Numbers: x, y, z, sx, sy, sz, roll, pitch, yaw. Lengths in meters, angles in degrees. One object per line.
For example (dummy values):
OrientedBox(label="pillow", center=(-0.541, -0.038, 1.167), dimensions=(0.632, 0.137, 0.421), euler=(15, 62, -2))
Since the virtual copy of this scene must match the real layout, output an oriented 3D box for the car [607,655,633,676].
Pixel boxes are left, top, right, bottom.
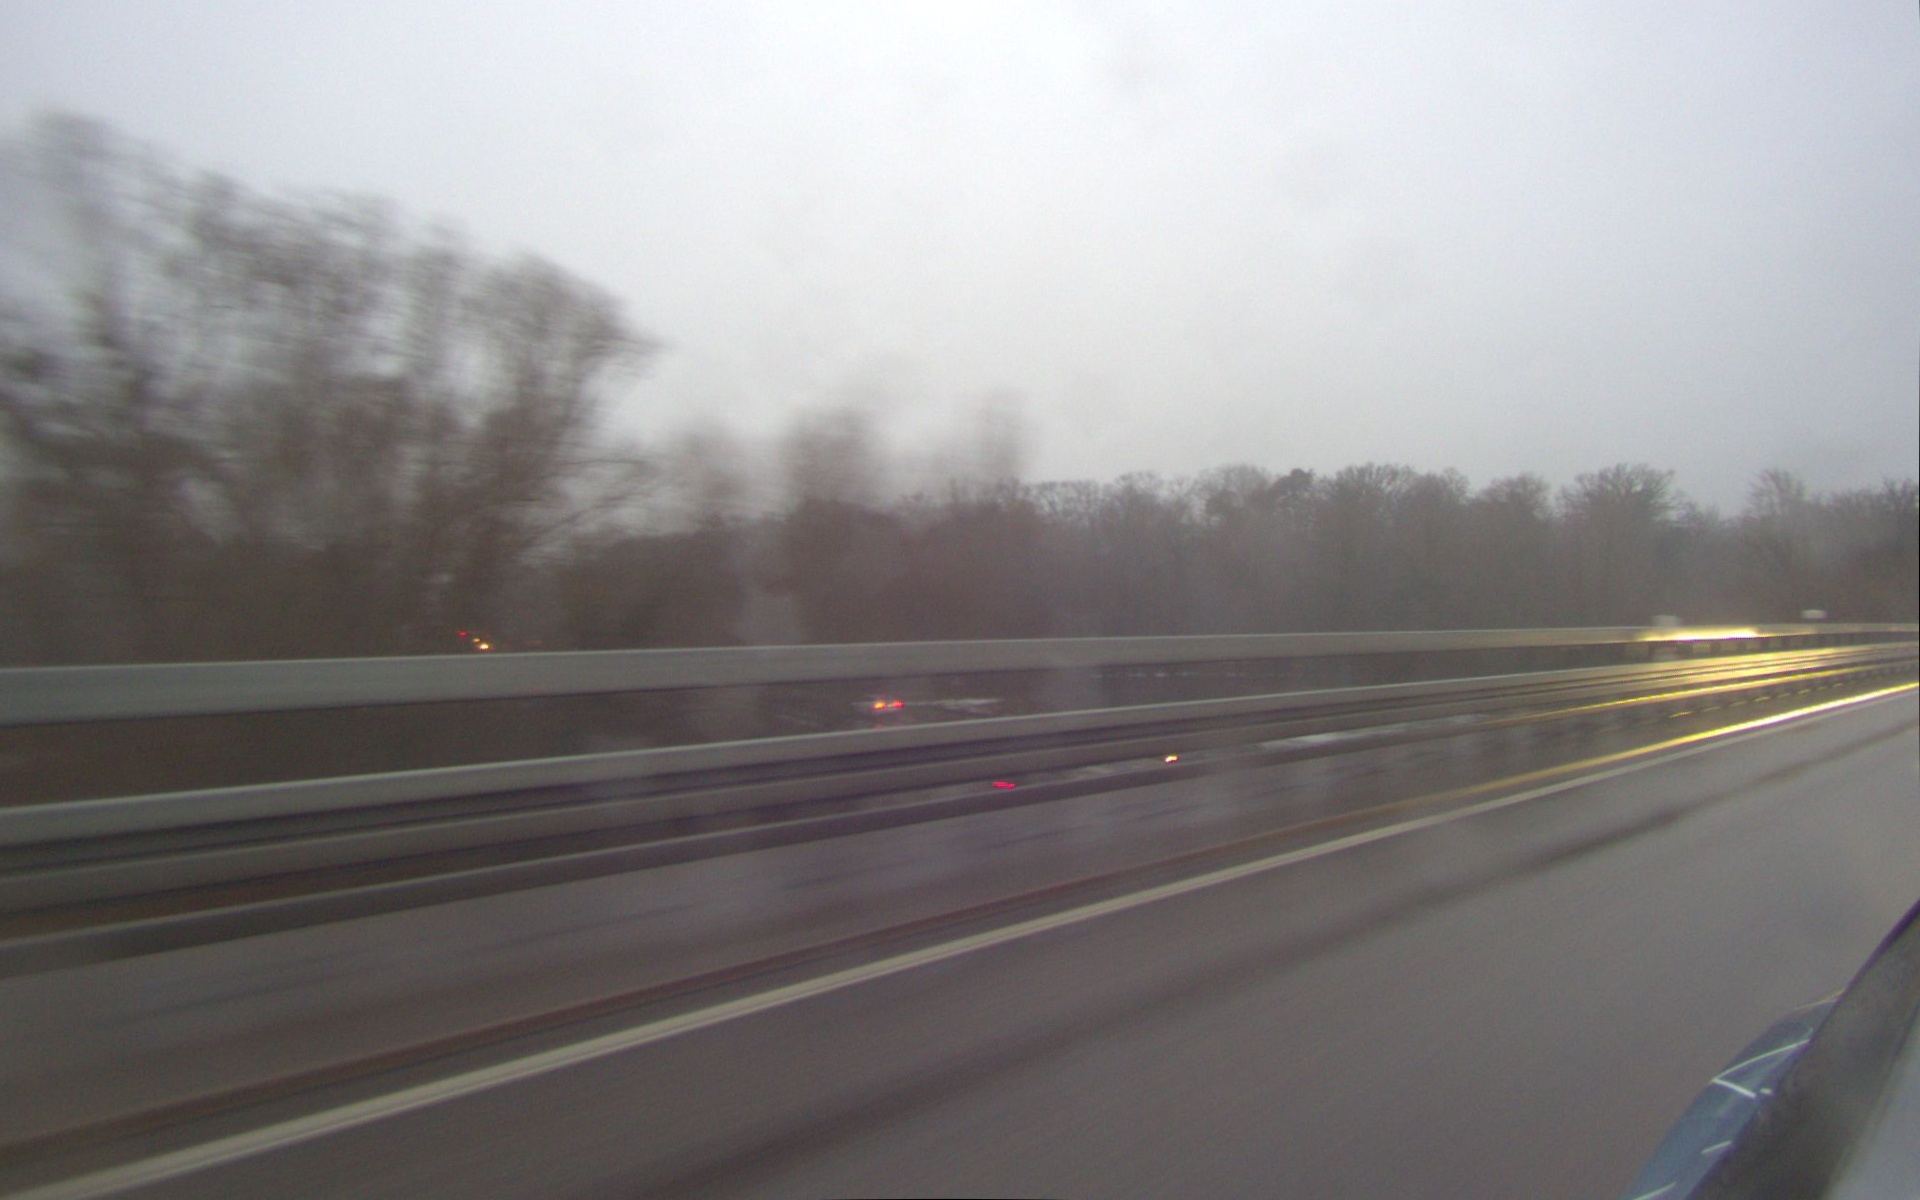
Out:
OrientedBox(label="car", center=(-38.520, 7.355, 114.686), dimensions=(1.959, 2.039, 5.720), euler=(1, -1, -27))
